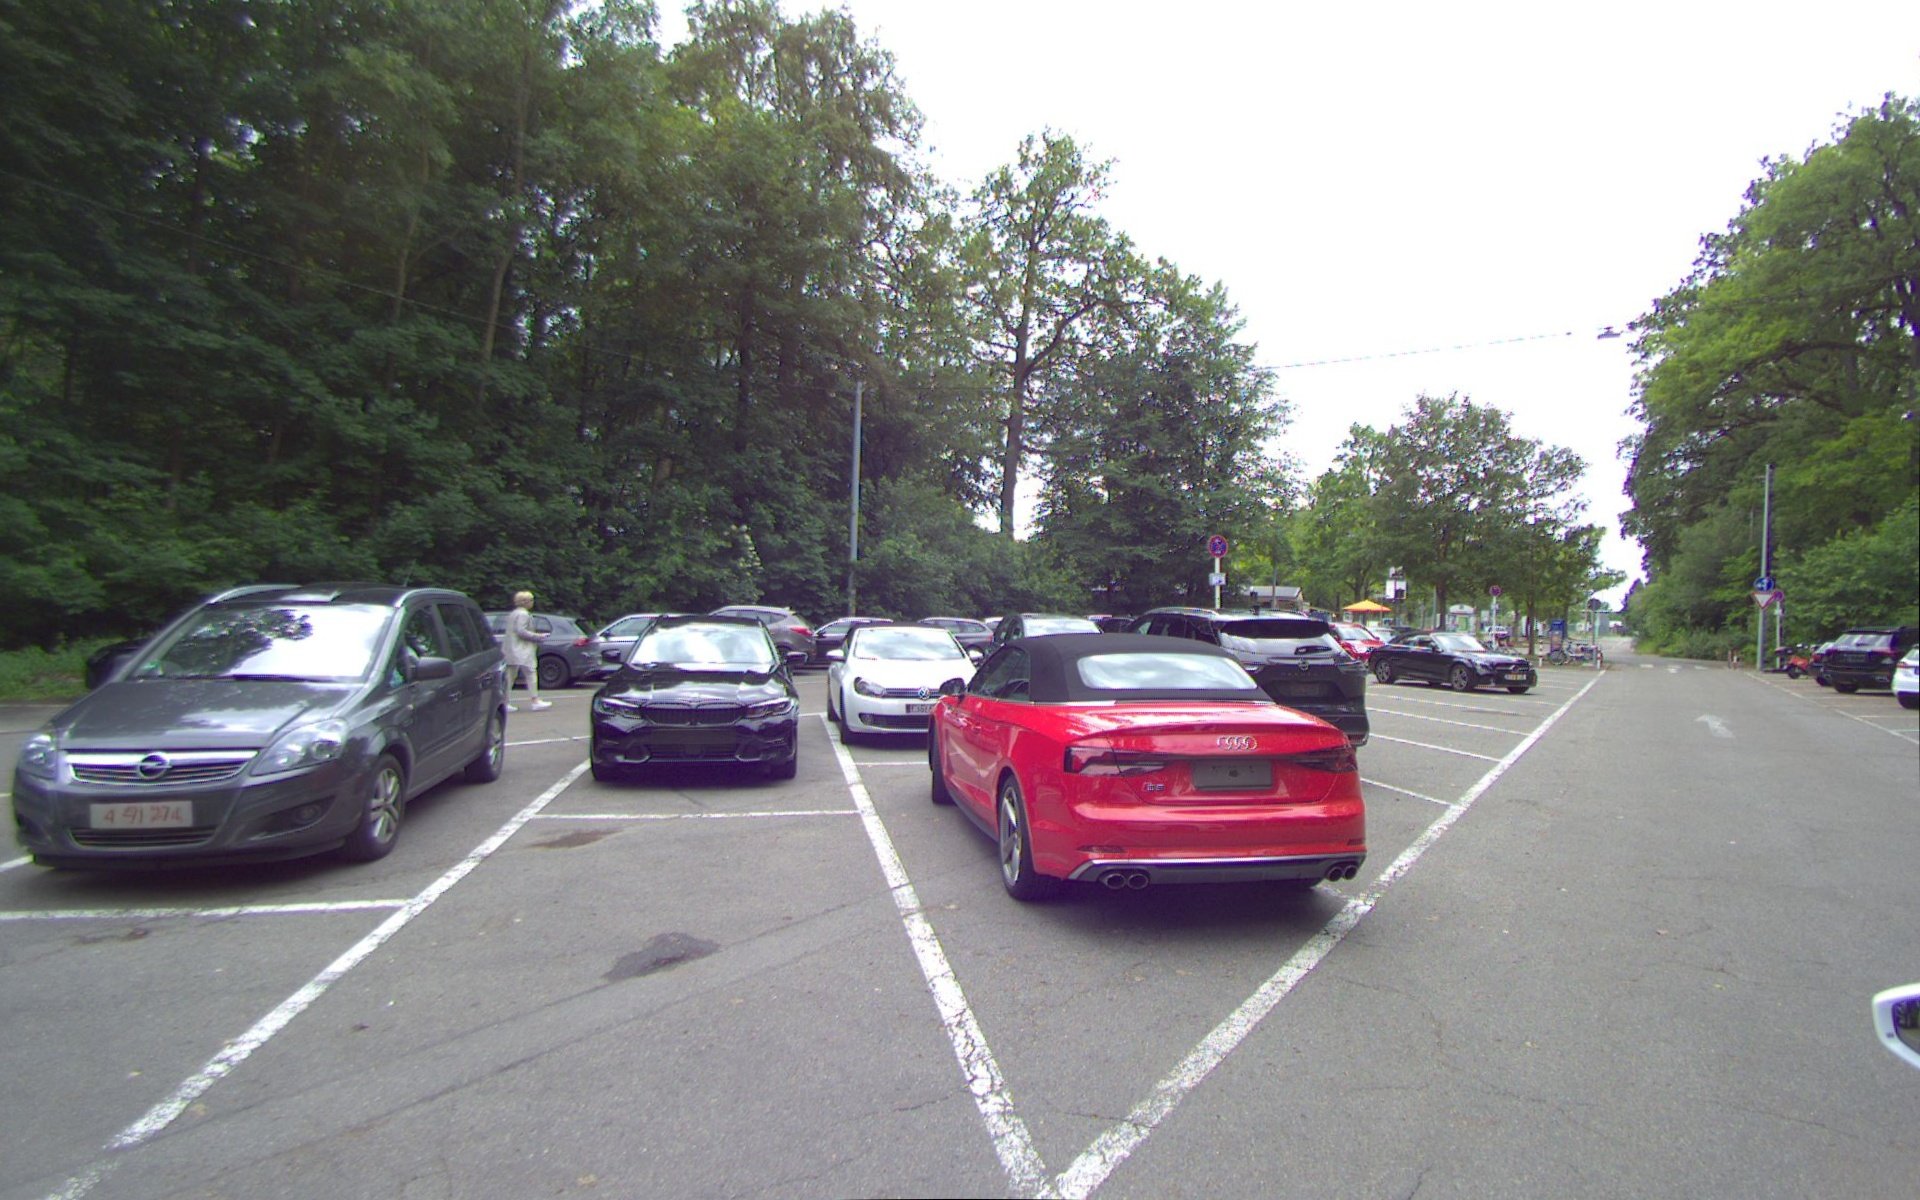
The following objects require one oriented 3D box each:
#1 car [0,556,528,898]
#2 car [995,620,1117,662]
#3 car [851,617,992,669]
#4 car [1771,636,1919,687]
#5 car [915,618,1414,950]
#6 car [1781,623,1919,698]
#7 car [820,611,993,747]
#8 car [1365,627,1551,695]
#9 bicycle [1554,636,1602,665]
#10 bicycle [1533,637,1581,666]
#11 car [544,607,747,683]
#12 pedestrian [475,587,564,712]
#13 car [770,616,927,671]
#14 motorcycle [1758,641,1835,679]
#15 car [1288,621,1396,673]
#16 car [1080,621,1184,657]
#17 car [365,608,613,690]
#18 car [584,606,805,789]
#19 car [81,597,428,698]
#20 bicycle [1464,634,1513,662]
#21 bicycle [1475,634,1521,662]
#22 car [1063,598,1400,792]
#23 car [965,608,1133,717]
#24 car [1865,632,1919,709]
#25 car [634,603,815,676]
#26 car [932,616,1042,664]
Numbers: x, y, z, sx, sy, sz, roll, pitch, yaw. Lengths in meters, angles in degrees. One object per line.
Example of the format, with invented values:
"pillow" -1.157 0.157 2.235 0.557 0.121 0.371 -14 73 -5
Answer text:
"car" -4.496 0.650 7.052 1.797 1.630 4.378 1 -1 -12
"car" 3.546 1.516 37.518 4.216 1.432 1.926 1 -1 -7
"car" -1.228 1.309 31.031 4.112 1.477 1.801 2 -1 -11
"car" 26.568 1.806 29.820 3.928 1.394 1.737 1 -1 -10
"car" 0.873 0.866 6.703 1.738 1.412 4.383 2 -1 -10
"car" 24.248 1.558 26.040 4.624 1.790 2.108 2 -1 -10
"car" -0.831 0.907 12.903 1.741 1.462 3.839 1 -1 -10
"car" 12.271 1.458 25.118 1.838 1.461 4.305 2 -1 -13
"bicycle" 26.170 2.127 42.578 1.673 1.126 0.480 0 -1 43
"bicycle" 25.042 2.150 42.165 1.660 1.126 0.503 0 -1 41
"car" -6.836 0.984 22.199 3.925 1.486 1.833 2 -1 -6
"pedestrian" -6.399 0.703 14.602 0.752 1.747 0.894 1 -1 35
"car" -3.172 1.212 28.189 4.189 1.396 1.961 2 -1 -13
"motorcycle" 28.345 2.033 34.059 1.989 1.224 0.731 1 -1 0
"car" 12.880 1.556 34.084 1.658 1.606 3.645 2 -1 -13
"car" 7.385 1.656 43.388 4.043 1.457 1.867 1 -1 -8
"car" -8.921 0.927 19.380 3.929 1.441 1.906 2 -1 -11
"car" -2.609 0.836 10.343 1.729 1.462 4.269 1 -1 -12
"car" -11.210 0.763 16.288 4.129 1.481 1.896 1 -1 -10
"bicycle" 22.190 2.006 42.172 1.760 1.126 0.481 0 -1 38
"bicycle" 23.184 2.060 43.290 1.658 1.126 0.481 0 -1 38
"car" 2.648 0.872 10.860 1.866 1.685 3.990 1 -1 -13
"car" 1.369 0.993 17.137 1.815 1.608 3.969 2 -1 -11
"car" 21.378 1.497 20.845 3.928 1.530 1.866 2 -1 -10
"car" -5.750 0.967 24.925 4.187 1.658 1.962 2 -1 -11
"car" 0.893 1.346 34.338 3.517 1.524 1.733 2 -1 -9
